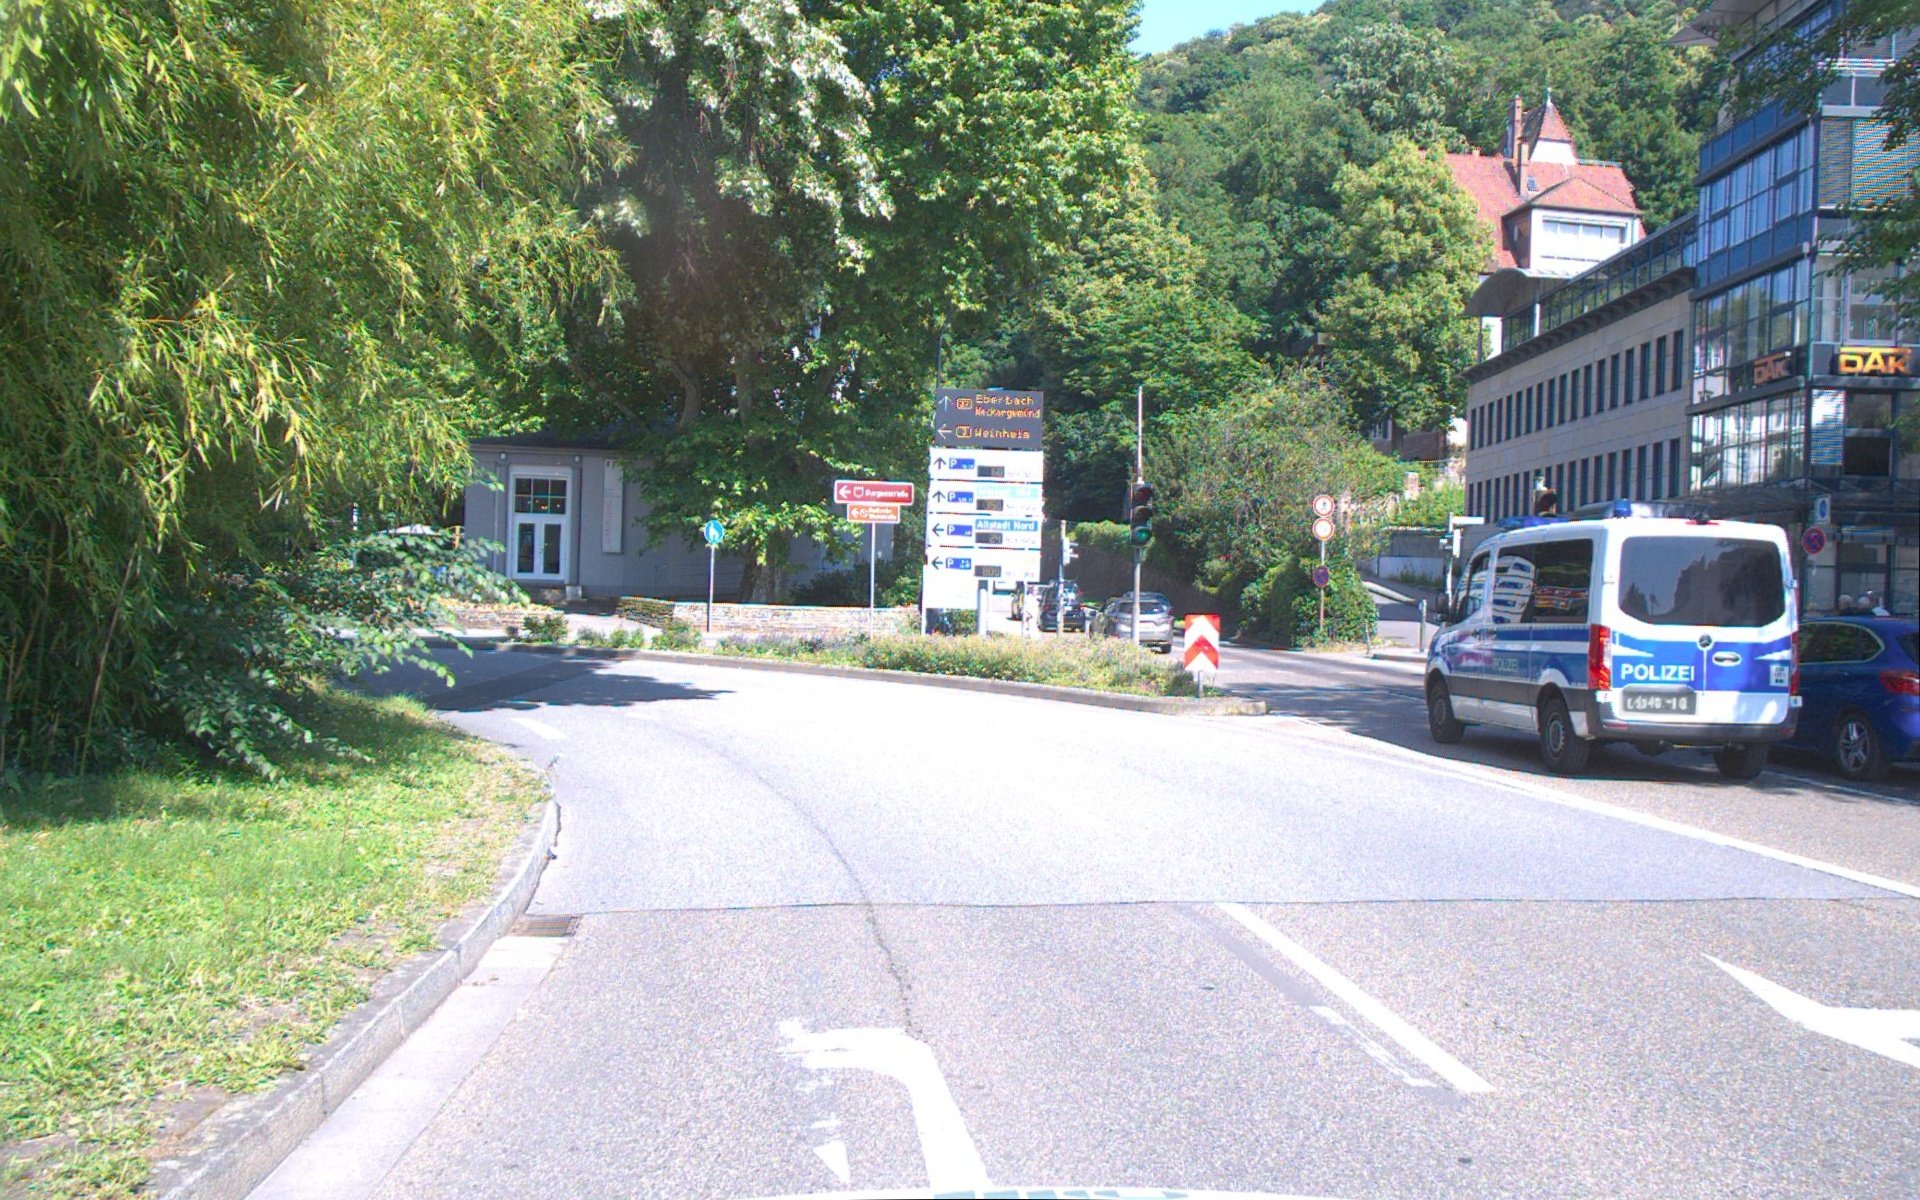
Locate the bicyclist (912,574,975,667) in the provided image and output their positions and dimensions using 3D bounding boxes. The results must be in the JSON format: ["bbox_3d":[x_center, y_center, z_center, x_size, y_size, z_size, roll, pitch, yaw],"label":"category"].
[{"bbox_3d":[-0.355,0.435,35.980,1.103,1.966,0.748,2,0,25],"label":"bicyclist"}]

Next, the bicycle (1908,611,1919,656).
[{"bbox_3d":[23.891,0.835,40.324,0.526,1.104,1.835,1,0,2],"label":"bicycle"}]

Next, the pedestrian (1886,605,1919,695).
[{"bbox_3d":[17.550,0.906,30.022,1.095,1.608,0.742,1,0,13],"label":"pedestrian"}]

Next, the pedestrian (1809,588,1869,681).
[{"bbox_3d":[18.328,0.705,34.495,0.755,1.886,0.829,2,0,1],"label":"pedestrian"}]

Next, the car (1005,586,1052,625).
[{"bbox_3d":[2.815,0.213,68.344,1.720,1.486,3.645,2,1,0],"label":"car"}]

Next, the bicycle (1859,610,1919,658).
[{"bbox_3d":[22.715,0.815,40.410,0.526,1.104,1.835,1,0,2],"label":"bicycle"}]

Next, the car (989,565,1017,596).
[{"bbox_3d":[2.926,-1.323,112.462,1.720,1.972,3.494,2,1,0],"label":"car"}]

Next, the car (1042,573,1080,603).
[{"bbox_3d":[5.246,-0.614,86.144,1.720,1.486,3.645,2,1,0],"label":"car"}]

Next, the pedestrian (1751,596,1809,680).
[{"bbox_3d":[17.033,0.771,34.387,0.755,1.692,0.829,2,0,1],"label":"pedestrian"}]

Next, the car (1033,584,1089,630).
[{"bbox_3d":[3.517,0.225,58.157,1.720,1.486,3.494,2,1,0],"label":"car"}]

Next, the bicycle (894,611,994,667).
[{"bbox_3d":[-0.351,0.838,35.987,2.035,1.132,0.756,2,0,25],"label":"bicycle"}]

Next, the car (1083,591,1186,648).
[{"bbox_3d":[4.610,0.493,44.137,1.724,1.357,3.793,2,1,-10],"label":"car"}]

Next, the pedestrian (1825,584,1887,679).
[{"bbox_3d":[18.176,0.623,33.567,0.755,1.886,0.829,2,0,0],"label":"pedestrian"}]

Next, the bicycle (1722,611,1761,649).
[{"bbox_3d":[20.738,0.784,43.891,0.397,0.957,1.341,1,1,0],"label":"bicycle"}]

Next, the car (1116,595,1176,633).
[{"bbox_3d":[6.661,0.474,59.580,1.720,1.234,3.494,2,1,0],"label":"car"}]

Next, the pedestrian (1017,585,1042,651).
[{"bbox_3d":[1.757,0.455,41.767,0.535,1.649,0.635,1,1,9],"label":"pedestrian"}]

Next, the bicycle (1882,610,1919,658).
[{"bbox_3d":[23.262,0.824,40.349,0.526,1.104,1.835,1,0,2],"label":"bicycle"}]

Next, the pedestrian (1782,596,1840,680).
[{"bbox_3d":[17.741,0.782,34.489,0.755,1.692,0.829,2,0,2],"label":"pedestrian"}]

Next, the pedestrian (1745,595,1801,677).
[{"bbox_3d":[17.250,0.750,35.105,0.755,1.692,0.829,2,0,1],"label":"pedestrian"}]

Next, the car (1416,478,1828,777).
[{"bbox_3d":[6.487,0.234,16.945,2.032,2.552,4.927,2,0,-2],"label":"car"}]

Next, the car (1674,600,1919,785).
[{"bbox_3d":[9.245,0.866,16.999,1.685,1.568,4.269,3,1,-4],"label":"car"}]
